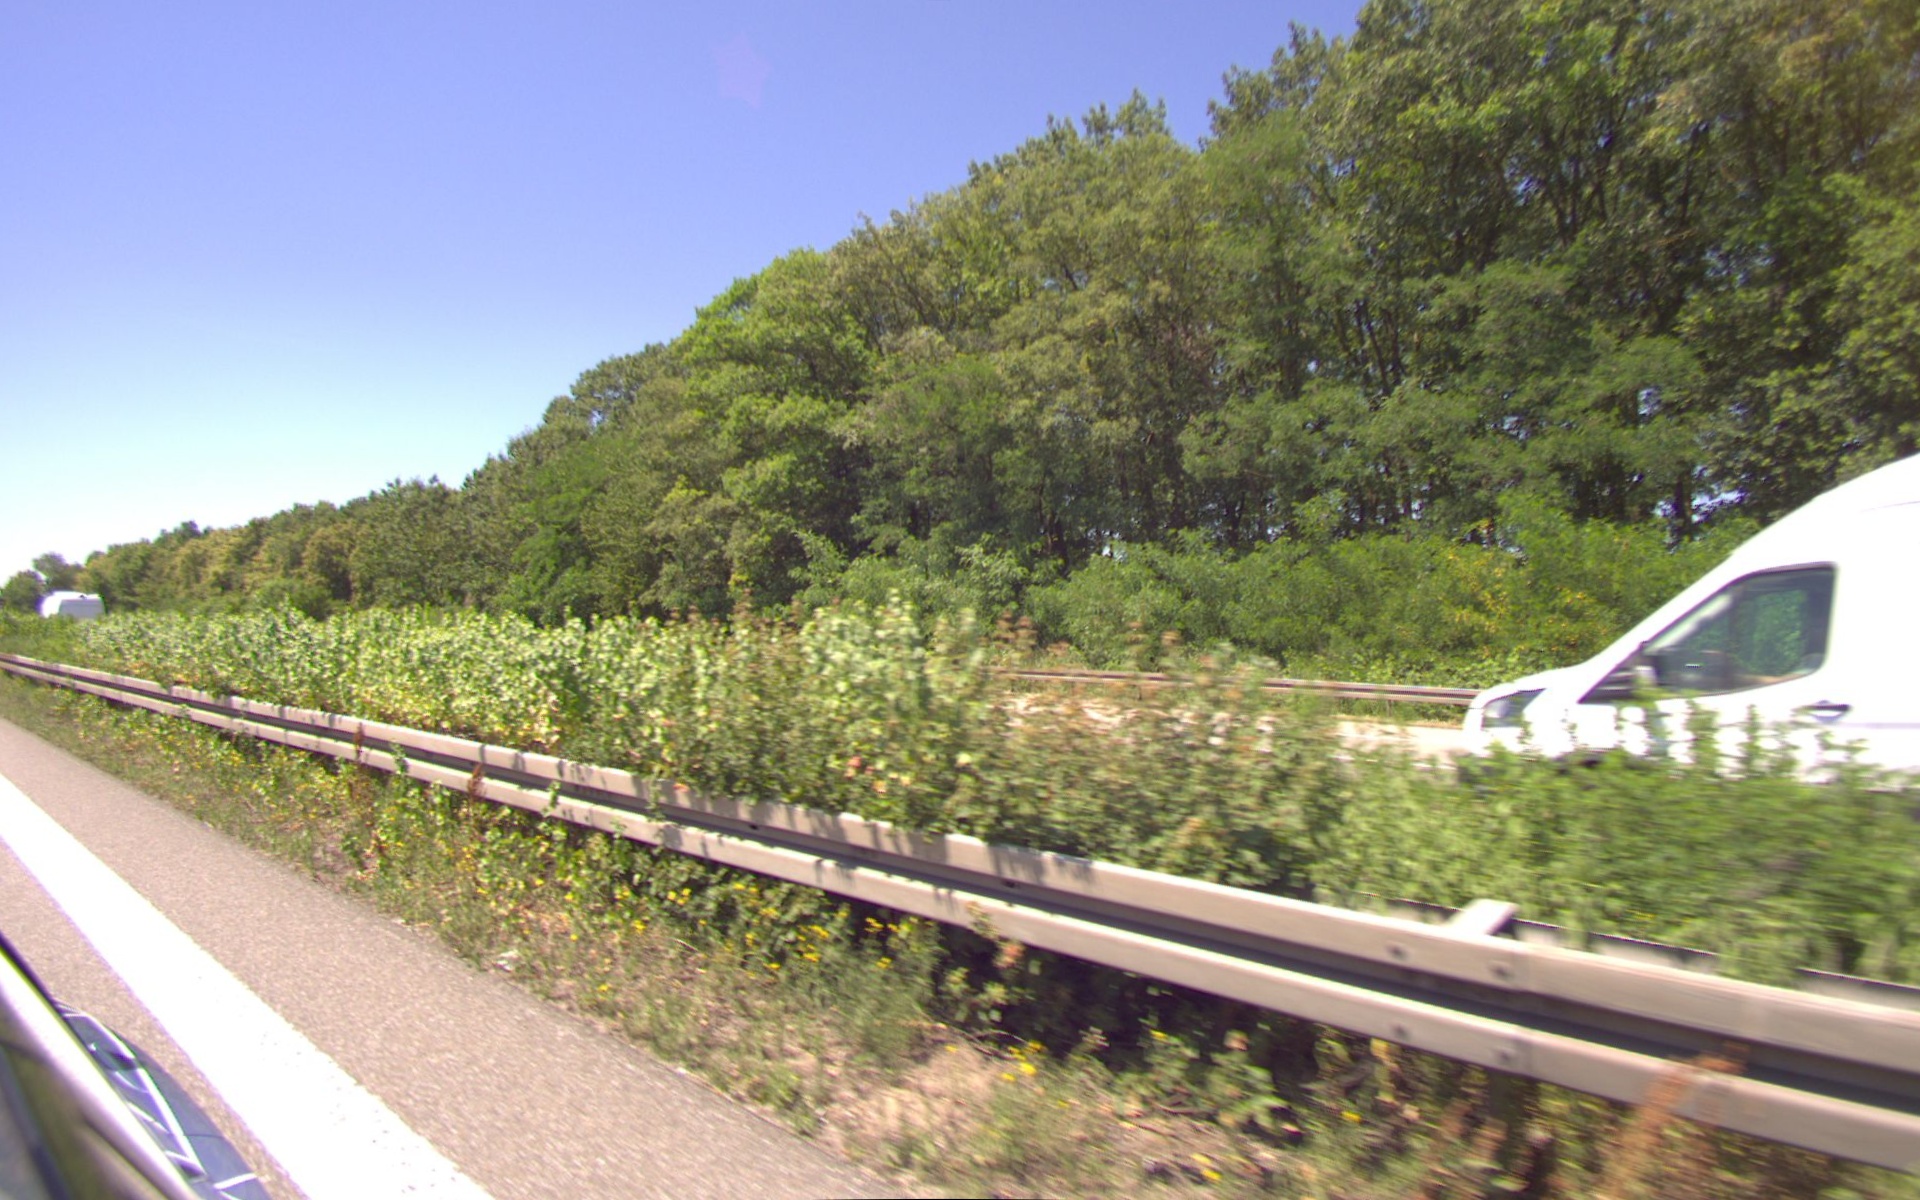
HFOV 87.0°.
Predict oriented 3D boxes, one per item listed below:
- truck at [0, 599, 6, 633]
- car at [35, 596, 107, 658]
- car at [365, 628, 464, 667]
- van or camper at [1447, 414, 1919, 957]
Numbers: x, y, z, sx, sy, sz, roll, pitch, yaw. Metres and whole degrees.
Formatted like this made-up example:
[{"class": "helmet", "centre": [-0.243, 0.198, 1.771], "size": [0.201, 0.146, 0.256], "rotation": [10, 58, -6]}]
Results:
[{"class": "truck", "centre": [-121.943, 2.001, 126.403], "size": [9.992, 4.145, 2.983], "rotation": [-1, -2, 40]}, {"class": "car", "centre": [-42.593, 1.283, 48.440], "size": [4.594, 2.847, 1.973], "rotation": [-1, -1, 41]}, {"class": "car", "centre": [-21.536, 1.825, 39.873], "size": [4.564, 1.414, 1.913], "rotation": [-1, -1, 40]}, {"class": "van or camper", "centre": [6.610, 0.442, 5.346], "size": [6.994, 2.868, 1.973], "rotation": [-1, -2, 40]}]
